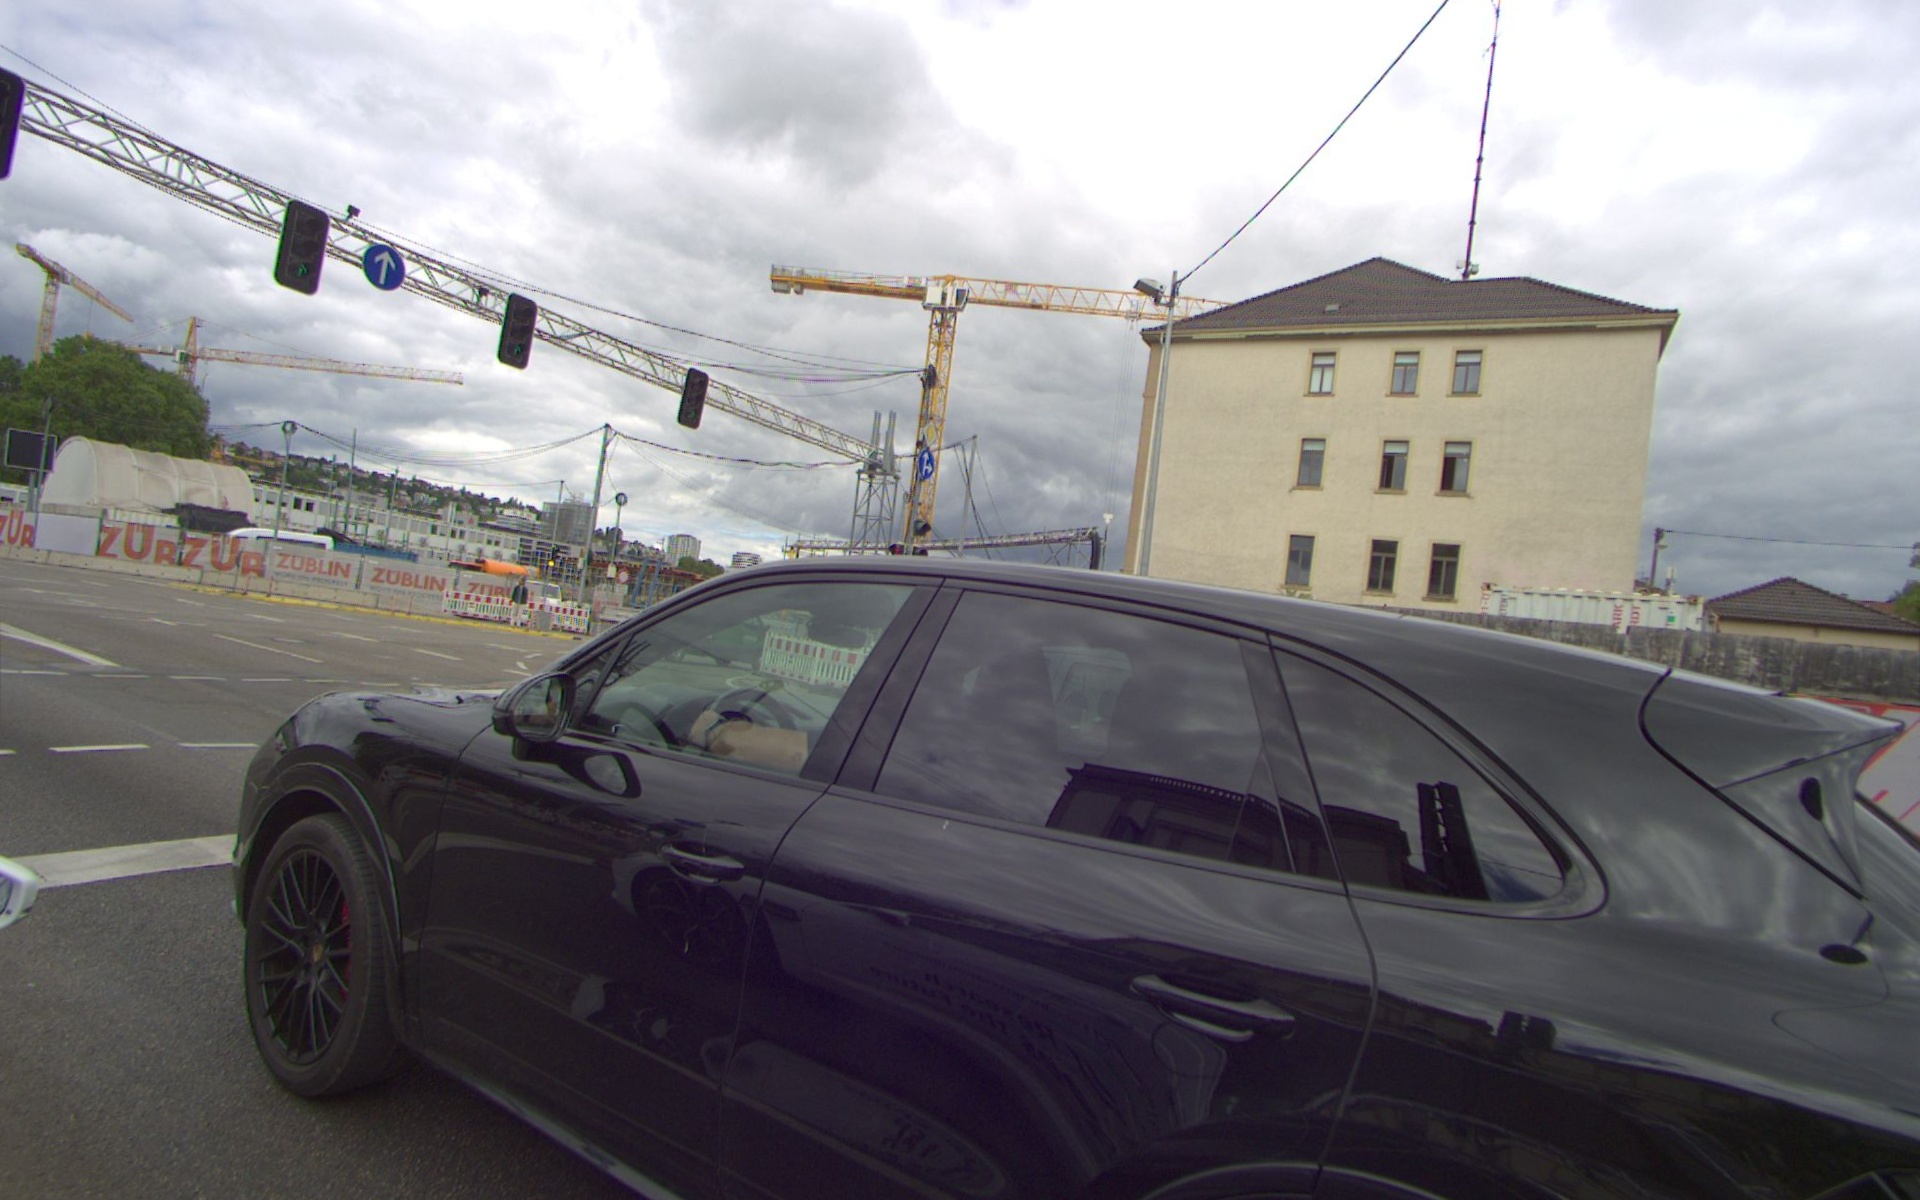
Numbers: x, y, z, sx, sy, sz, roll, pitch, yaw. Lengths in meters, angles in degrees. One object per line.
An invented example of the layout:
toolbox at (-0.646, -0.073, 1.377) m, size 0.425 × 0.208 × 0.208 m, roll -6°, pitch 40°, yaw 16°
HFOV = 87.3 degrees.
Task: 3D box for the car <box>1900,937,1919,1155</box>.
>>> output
car at (5.842, 1.673, 2.489) m, size 4.729 × 1.643 × 1.828 m, roll 6°, pitch -2°, yaw 32°

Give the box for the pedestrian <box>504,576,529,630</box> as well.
pedestrian at (-17.165, 0.106, 38.956) m, size 0.580 × 1.999 × 0.433 m, roll 8°, pitch -1°, yaw -17°

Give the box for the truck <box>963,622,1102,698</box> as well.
truck at (3.722, 2.999, 48.525) m, size 2.583 × 2.835 × 9.001 m, roll 7°, pitch -3°, yaw 31°

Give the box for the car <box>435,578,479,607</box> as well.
car at (-32.193, -0.493, 64.357) m, size 1.668 × 1.545 × 3.960 m, roll 8°, pitch -2°, yaw -37°

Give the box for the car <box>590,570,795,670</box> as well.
car at (-7.955, 0.693, 30.629) m, size 2.267 × 2.331 × 5.766 m, roll 6°, pitch -3°, yaw 34°

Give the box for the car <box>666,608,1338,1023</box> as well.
car at (0.174, 1.127, 6.584) m, size 3.934 × 1.643 × 1.679 m, roll 6°, pitch -2°, yaw 32°

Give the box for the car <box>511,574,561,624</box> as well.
car at (-19.096, -0.069, 45.230) m, size 1.757 × 1.976 × 3.109 m, roll 8°, pitch -2°, yaw -25°

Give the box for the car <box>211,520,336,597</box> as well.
car at (-29.492, -1.741, 43.284) m, size 1.660 × 2.692 × 3.979 m, roll 6°, pitch -3°, yaw 45°

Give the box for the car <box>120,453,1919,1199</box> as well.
car at (-0.187, 0.679, 2.764) m, size 4.411 × 1.735 × 1.828 m, roll 6°, pitch -2°, yaw 32°

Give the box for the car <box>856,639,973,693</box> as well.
car at (-1.675, 2.606, 39.154) m, size 1.988 × 1.643 × 4.816 m, roll 6°, pitch -3°, yaw 33°
